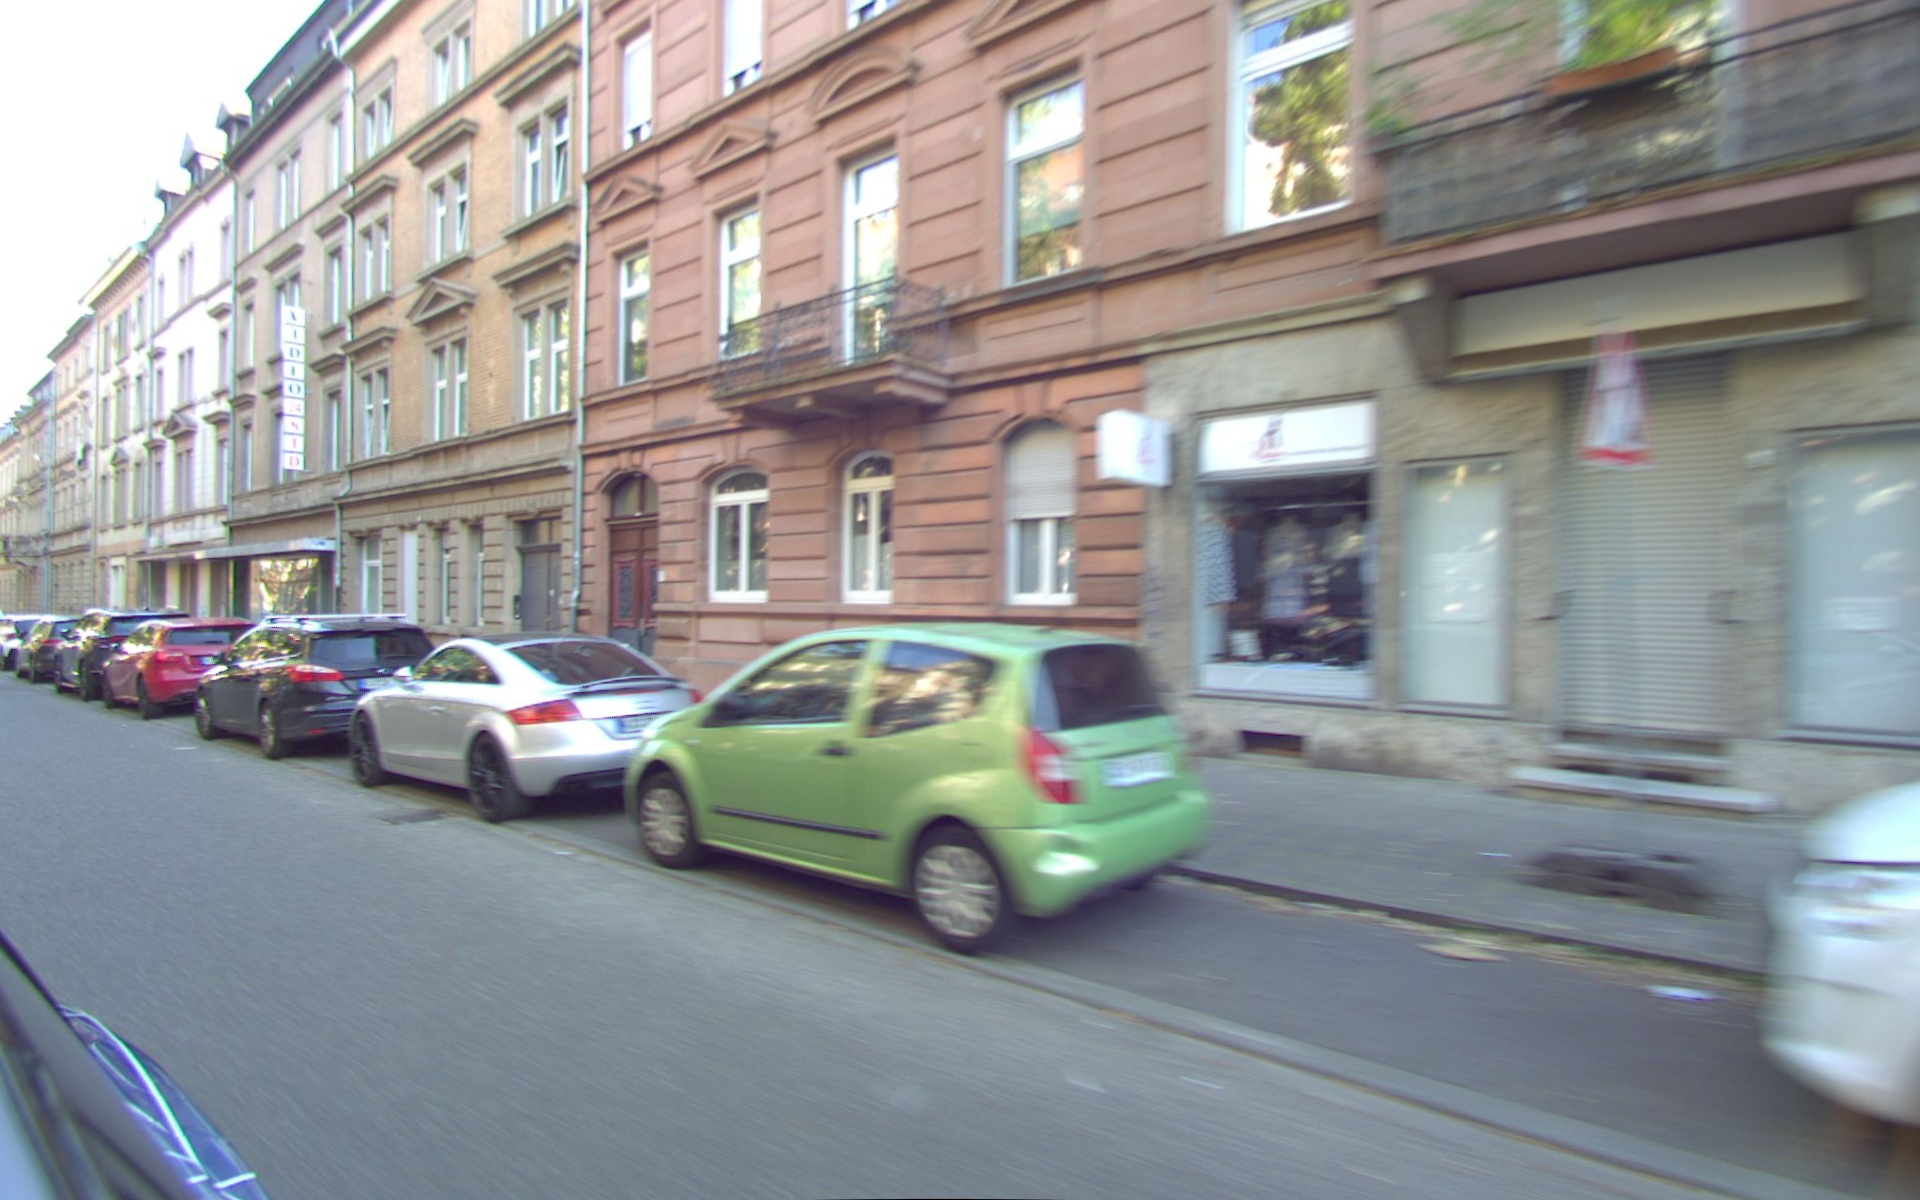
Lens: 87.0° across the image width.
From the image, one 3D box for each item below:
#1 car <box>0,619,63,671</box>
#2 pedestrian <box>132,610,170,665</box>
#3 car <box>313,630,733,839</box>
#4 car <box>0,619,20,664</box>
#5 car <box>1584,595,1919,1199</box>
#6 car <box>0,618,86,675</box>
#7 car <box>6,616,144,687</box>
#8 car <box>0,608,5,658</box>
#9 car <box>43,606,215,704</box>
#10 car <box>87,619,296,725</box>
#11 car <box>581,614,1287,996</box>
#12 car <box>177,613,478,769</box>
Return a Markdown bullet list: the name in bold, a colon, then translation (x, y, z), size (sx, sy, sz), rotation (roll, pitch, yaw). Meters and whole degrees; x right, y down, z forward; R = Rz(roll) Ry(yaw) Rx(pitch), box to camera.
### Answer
- **car**: translation (-28.705, 1.307, 30.456), size (4.538, 1.455, 1.867), rotation (-1, -1, 39)
- **pedestrian**: translation (-24.356, 1.117, 30.473), size (1.017, 1.643, 0.688), rotation (-1, -2, 39)
- **car**: translation (-3.872, 0.940, 8.629), size (4.099, 1.333, 1.687), rotation (-1, -2, 41)
- **car**: translation (-33.809, 1.413, 34.746), size (4.241, 1.484, 1.729), rotation (-1, -2, 40)
- **car**: translation (3.845, 0.726, 2.250), size (3.997, 1.484, 1.566), rotation (-1, -2, 40)
- **car**: translation (-25.720, 1.238, 27.966), size (4.084, 1.483, 1.739), rotation (-1, -2, 40)
- **car**: translation (-20.488, 1.135, 23.366), size (4.487, 1.483, 1.842), rotation (-1, -2, 42)
- **car**: translation (-37.736, 1.250, 38.284), size (4.602, 1.847, 1.824), rotation (-1, -1, 40)
- **car**: translation (-15.851, 0.965, 19.224), size (4.311, 1.612, 1.802), rotation (-1, 0, 41)
- **car**: translation (-12.410, 1.046, 16.243), size (4.311, 1.436, 1.802), rotation (-1, 0, 41)
- **car**: translation (-0.377, 0.819, 5.803), size (3.957, 1.450, 1.687), rotation (-1, -2, 41)
- **car**: translation (-7.625, 0.926, 12.019), size (4.421, 1.488, 1.802), rotation (-1, 0, 41)
